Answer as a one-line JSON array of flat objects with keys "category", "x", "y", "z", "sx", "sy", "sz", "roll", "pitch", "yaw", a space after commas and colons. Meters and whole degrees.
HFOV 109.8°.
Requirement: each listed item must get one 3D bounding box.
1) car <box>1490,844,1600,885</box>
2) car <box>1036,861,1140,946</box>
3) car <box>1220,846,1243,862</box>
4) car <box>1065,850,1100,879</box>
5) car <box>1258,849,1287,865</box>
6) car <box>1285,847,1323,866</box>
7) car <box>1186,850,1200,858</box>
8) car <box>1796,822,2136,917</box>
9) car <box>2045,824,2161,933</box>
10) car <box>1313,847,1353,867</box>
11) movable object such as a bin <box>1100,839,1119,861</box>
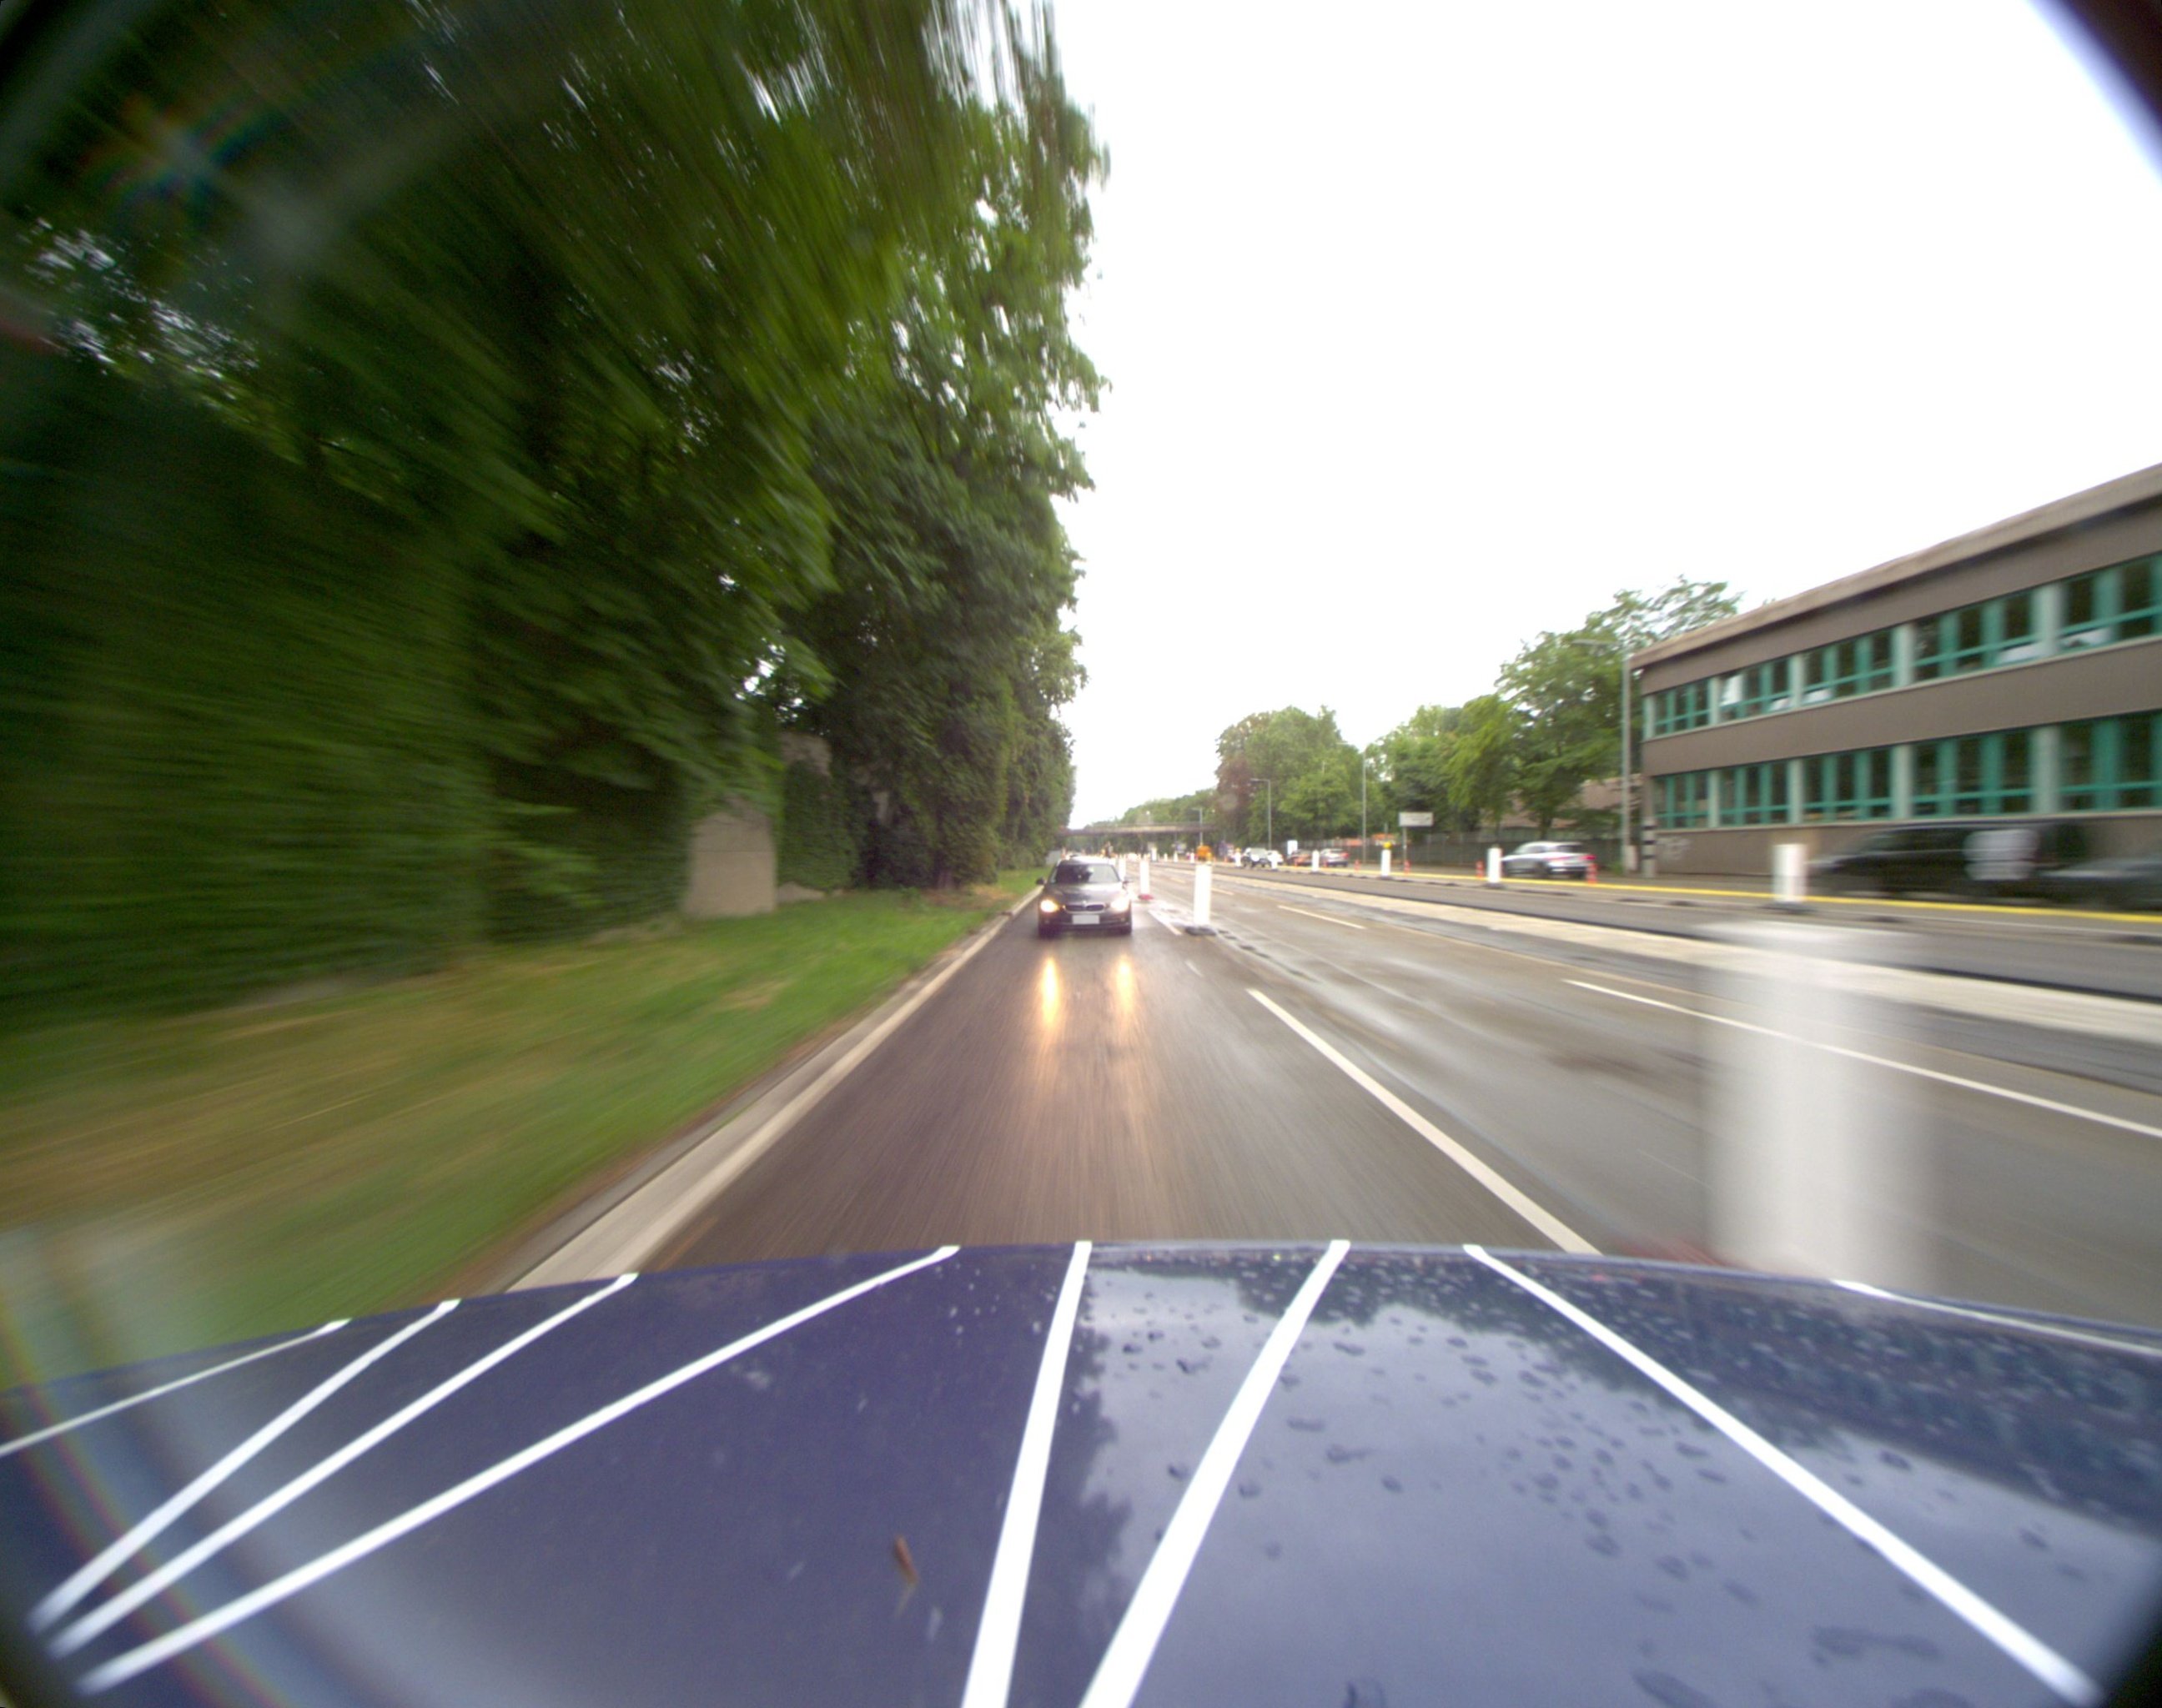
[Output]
[{"category": "car", "x": 21.043, "y": 0.427, "z": 34.758, "sx": 1.943, "sy": 1.696, "sz": 4.934, "roll": -2, "pitch": 1, "yaw": -1}, {"category": "car", "x": 0.068, "y": 0.909, "z": 15.717, "sx": 1.838, "sy": 1.397, "sz": 3.999, "roll": -2, "pitch": 1, "yaw": -2}, {"category": "car", "x": 17.926, "y": -0.053, "z": 90.667, "sx": 1.993, "sy": 1.758, "sz": 4.674, "roll": -2, "pitch": 1, "yaw": 1}, {"category": "car", "x": 0.087, "y": 0.610, "z": 46.410, "sx": 1.998, "sy": 1.650, "sz": 4.229, "roll": -2, "pitch": 1, "yaw": 0}, {"category": "car", "x": 18.812, "y": 0.273, "z": 74.769, "sx": 1.808, "sy": 1.525, "sz": 3.991, "roll": -2, "pitch": 1, "yaw": 0}, {"category": "car", "x": 18.553, "y": 0.181, "z": 63.330, "sx": 1.898, "sy": 1.493, "sz": 4.516, "roll": -2, "pitch": 1, "yaw": 2}, {"category": "car", "x": 21.245, "y": -0.030, "z": 143.928, "sx": 1.999, "sy": 1.421, "sz": 4.264, "roll": -1, "pitch": 0, "yaw": -1}, {"category": "car", "x": 20.979, "y": 0.300, "z": 18.521, "sx": 1.999, "sy": 1.908, "sz": 5.363, "roll": -2, "pitch": 1, "yaw": -1}, {"category": "car", "x": 18.702, "y": 0.394, "z": 11.445, "sx": 1.999, "sy": 1.770, "sz": 4.953, "roll": -2, "pitch": 1, "yaw": -2}, {"category": "car", "x": 21.486, "y": 0.264, "z": 64.896, "sx": 1.999, "sy": 1.577, "sz": 4.178, "roll": -2, "pitch": 1, "yaw": 0}, {"category": "movable object such as a bin", "x": 6.183, "y": -0.944, "z": 164.608, "sx": 3.527, "sy": 4.495, "sz": 10.068, "roll": -2, "pitch": 1, "yaw": 0}]
